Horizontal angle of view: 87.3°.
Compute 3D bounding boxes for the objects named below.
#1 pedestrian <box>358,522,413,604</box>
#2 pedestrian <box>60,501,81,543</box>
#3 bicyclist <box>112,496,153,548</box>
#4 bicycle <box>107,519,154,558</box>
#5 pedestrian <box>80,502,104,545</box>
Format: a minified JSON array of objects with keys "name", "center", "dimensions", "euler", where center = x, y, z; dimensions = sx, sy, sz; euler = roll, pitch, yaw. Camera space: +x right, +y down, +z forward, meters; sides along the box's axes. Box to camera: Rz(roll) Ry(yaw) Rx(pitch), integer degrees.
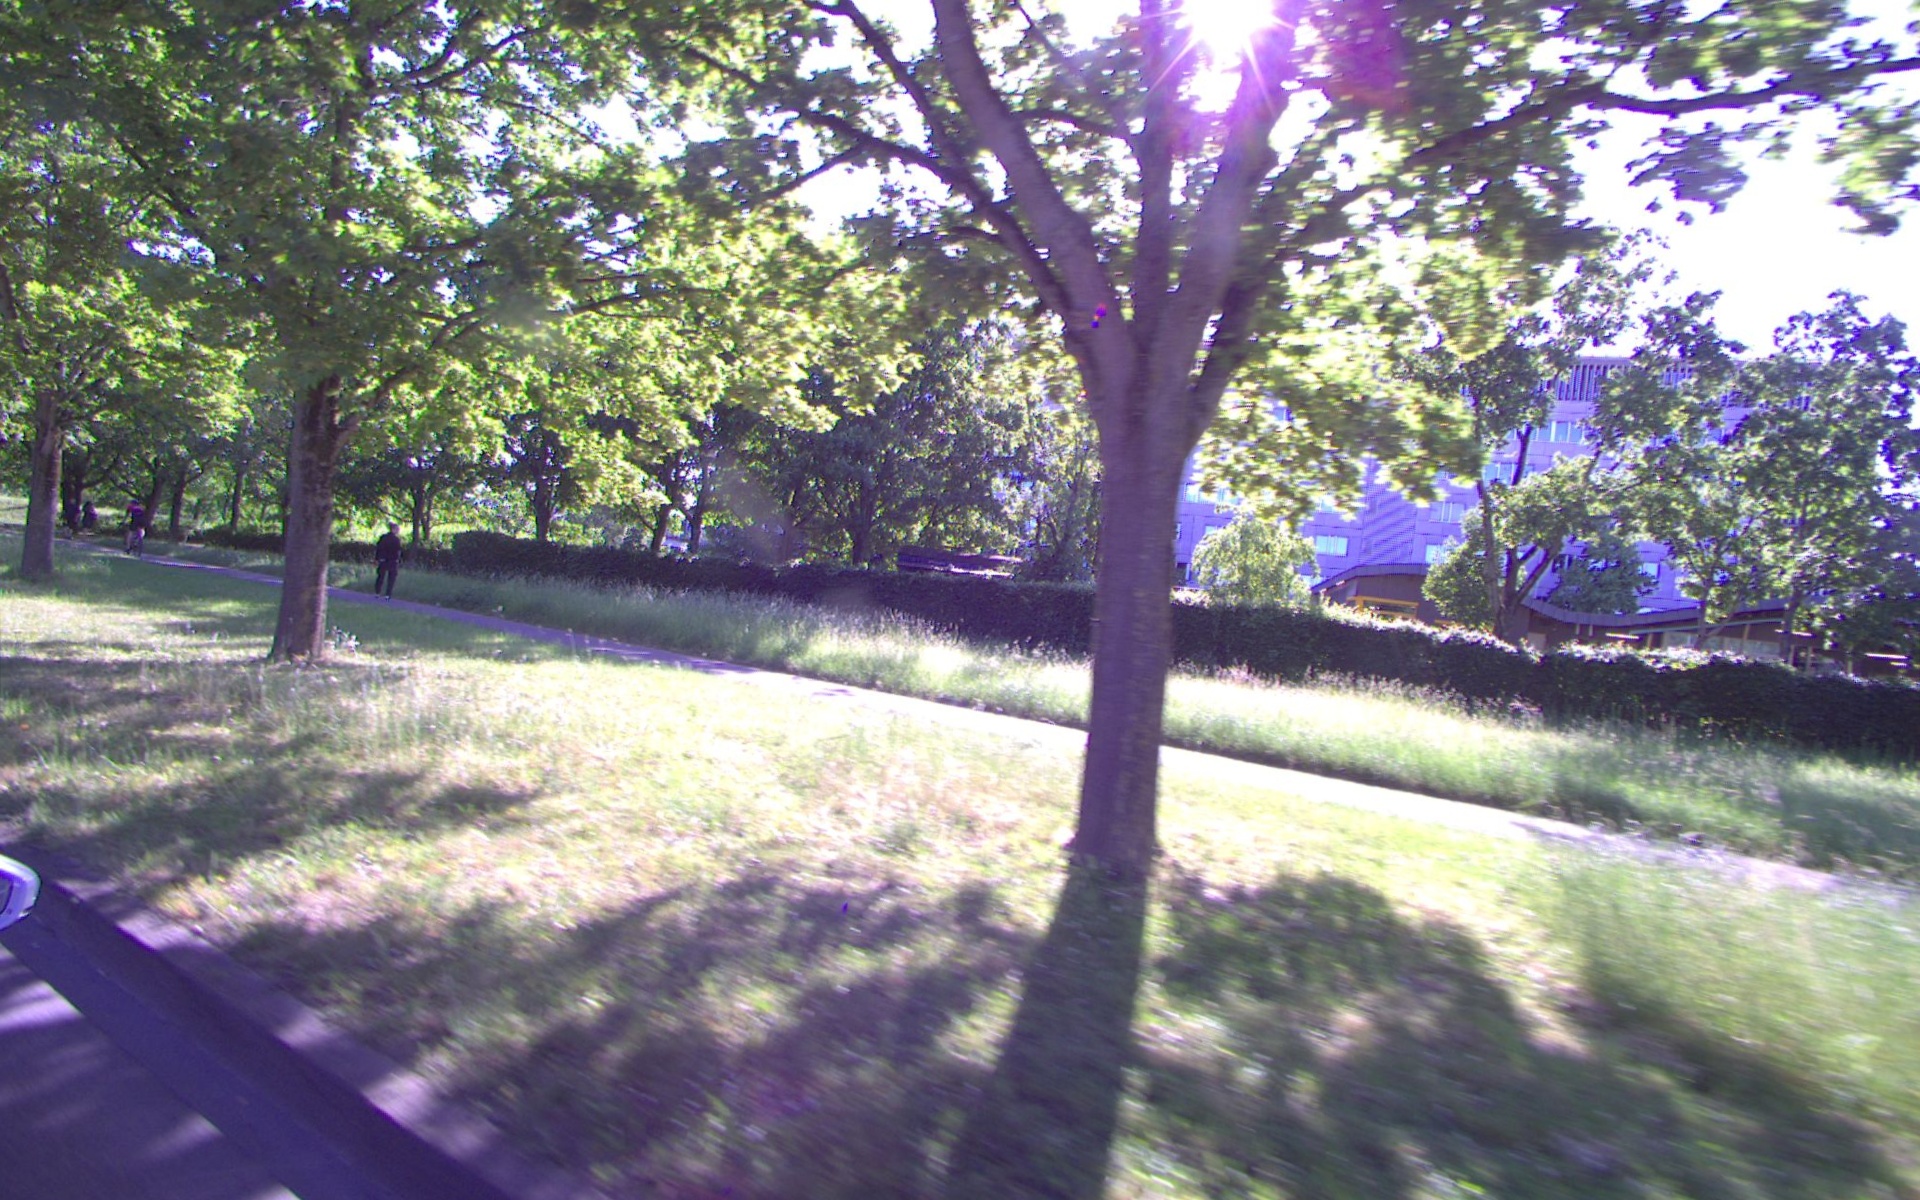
[{"name":"pedestrian","center":[-13.609,-0.875,23.831],"dimensions":[0.781,1.825,0.716],"euler":[6,0,35]},{"name":"pedestrian","center":[-37.276,-3.264,42.142],"dimensions":[0.544,1.642,0.834],"euler":[6,0,-42]},{"name":"bicyclist","center":[-25.471,-2.395,30.983],"dimensions":[0.784,1.468,0.838],"euler":[6,0,-33]},{"name":"bicycle","center":[-25.529,-1.884,30.998],"dimensions":[0.789,1.060,2.124],"euler":[6,0,-33]},{"name":"pedestrian","center":[-36.614,-3.222,42.433],"dimensions":[0.633,1.712,0.834],"euler":[6,0,-42]}]
